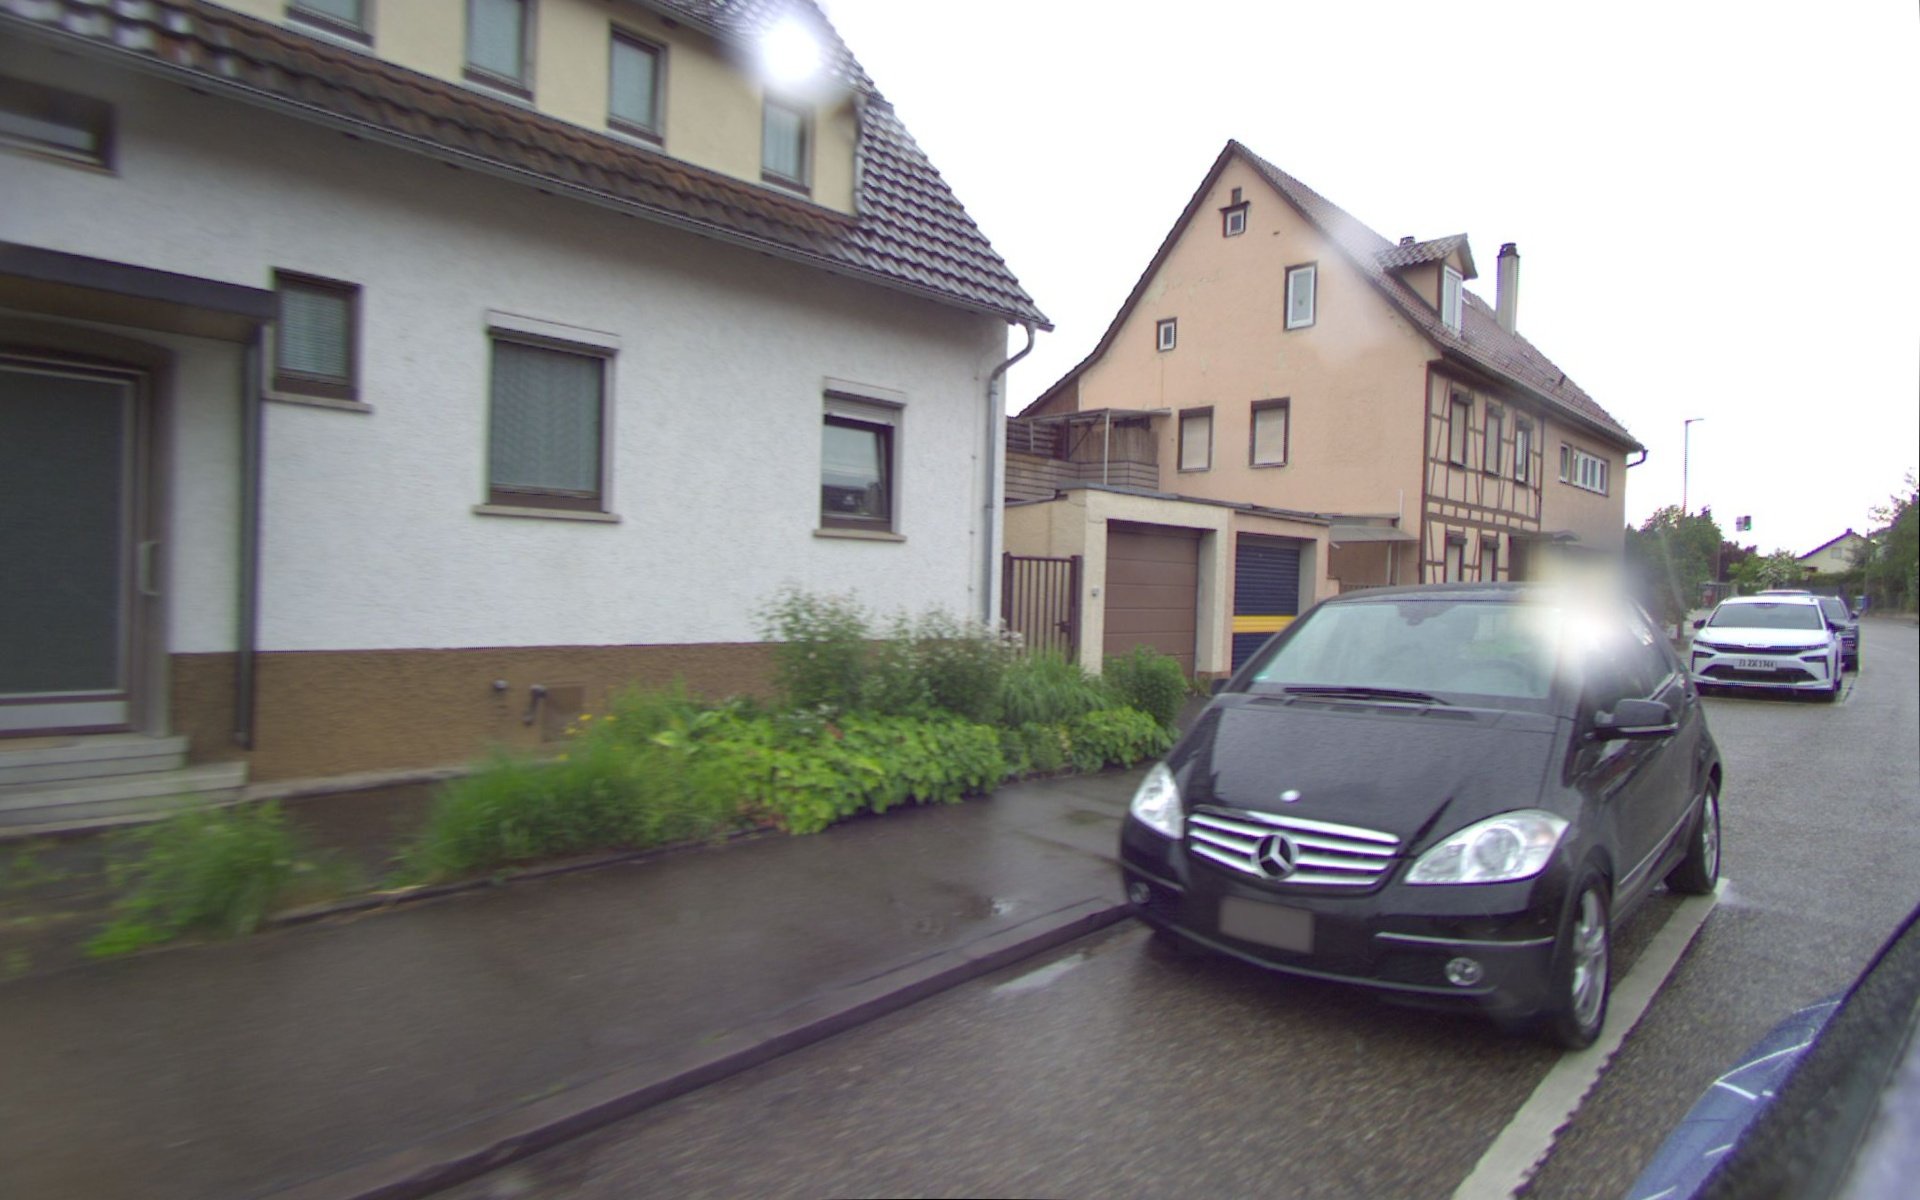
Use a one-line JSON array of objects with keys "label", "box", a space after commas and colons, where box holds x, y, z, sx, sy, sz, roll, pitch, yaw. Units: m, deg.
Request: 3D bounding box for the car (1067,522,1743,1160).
[{"label": "car", "box": [2.389, 0.608, 4.792, 1.749, 1.731, 3.939, 2, 2, 42]}]

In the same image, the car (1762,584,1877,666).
[{"label": "car", "box": [20.373, 0.525, 24.017, 1.906, 1.739, 4.489, -1, 0, 41]}]

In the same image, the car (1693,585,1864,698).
[{"label": "car", "box": [13.835, 0.576, 17.003, 1.803, 1.615, 4.538, 0, 1, 45]}]

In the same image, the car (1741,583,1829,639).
[{"label": "car", "box": [30.276, 0.339, 37.295, 1.922, 1.926, 4.738, 0, 0, 32]}]
